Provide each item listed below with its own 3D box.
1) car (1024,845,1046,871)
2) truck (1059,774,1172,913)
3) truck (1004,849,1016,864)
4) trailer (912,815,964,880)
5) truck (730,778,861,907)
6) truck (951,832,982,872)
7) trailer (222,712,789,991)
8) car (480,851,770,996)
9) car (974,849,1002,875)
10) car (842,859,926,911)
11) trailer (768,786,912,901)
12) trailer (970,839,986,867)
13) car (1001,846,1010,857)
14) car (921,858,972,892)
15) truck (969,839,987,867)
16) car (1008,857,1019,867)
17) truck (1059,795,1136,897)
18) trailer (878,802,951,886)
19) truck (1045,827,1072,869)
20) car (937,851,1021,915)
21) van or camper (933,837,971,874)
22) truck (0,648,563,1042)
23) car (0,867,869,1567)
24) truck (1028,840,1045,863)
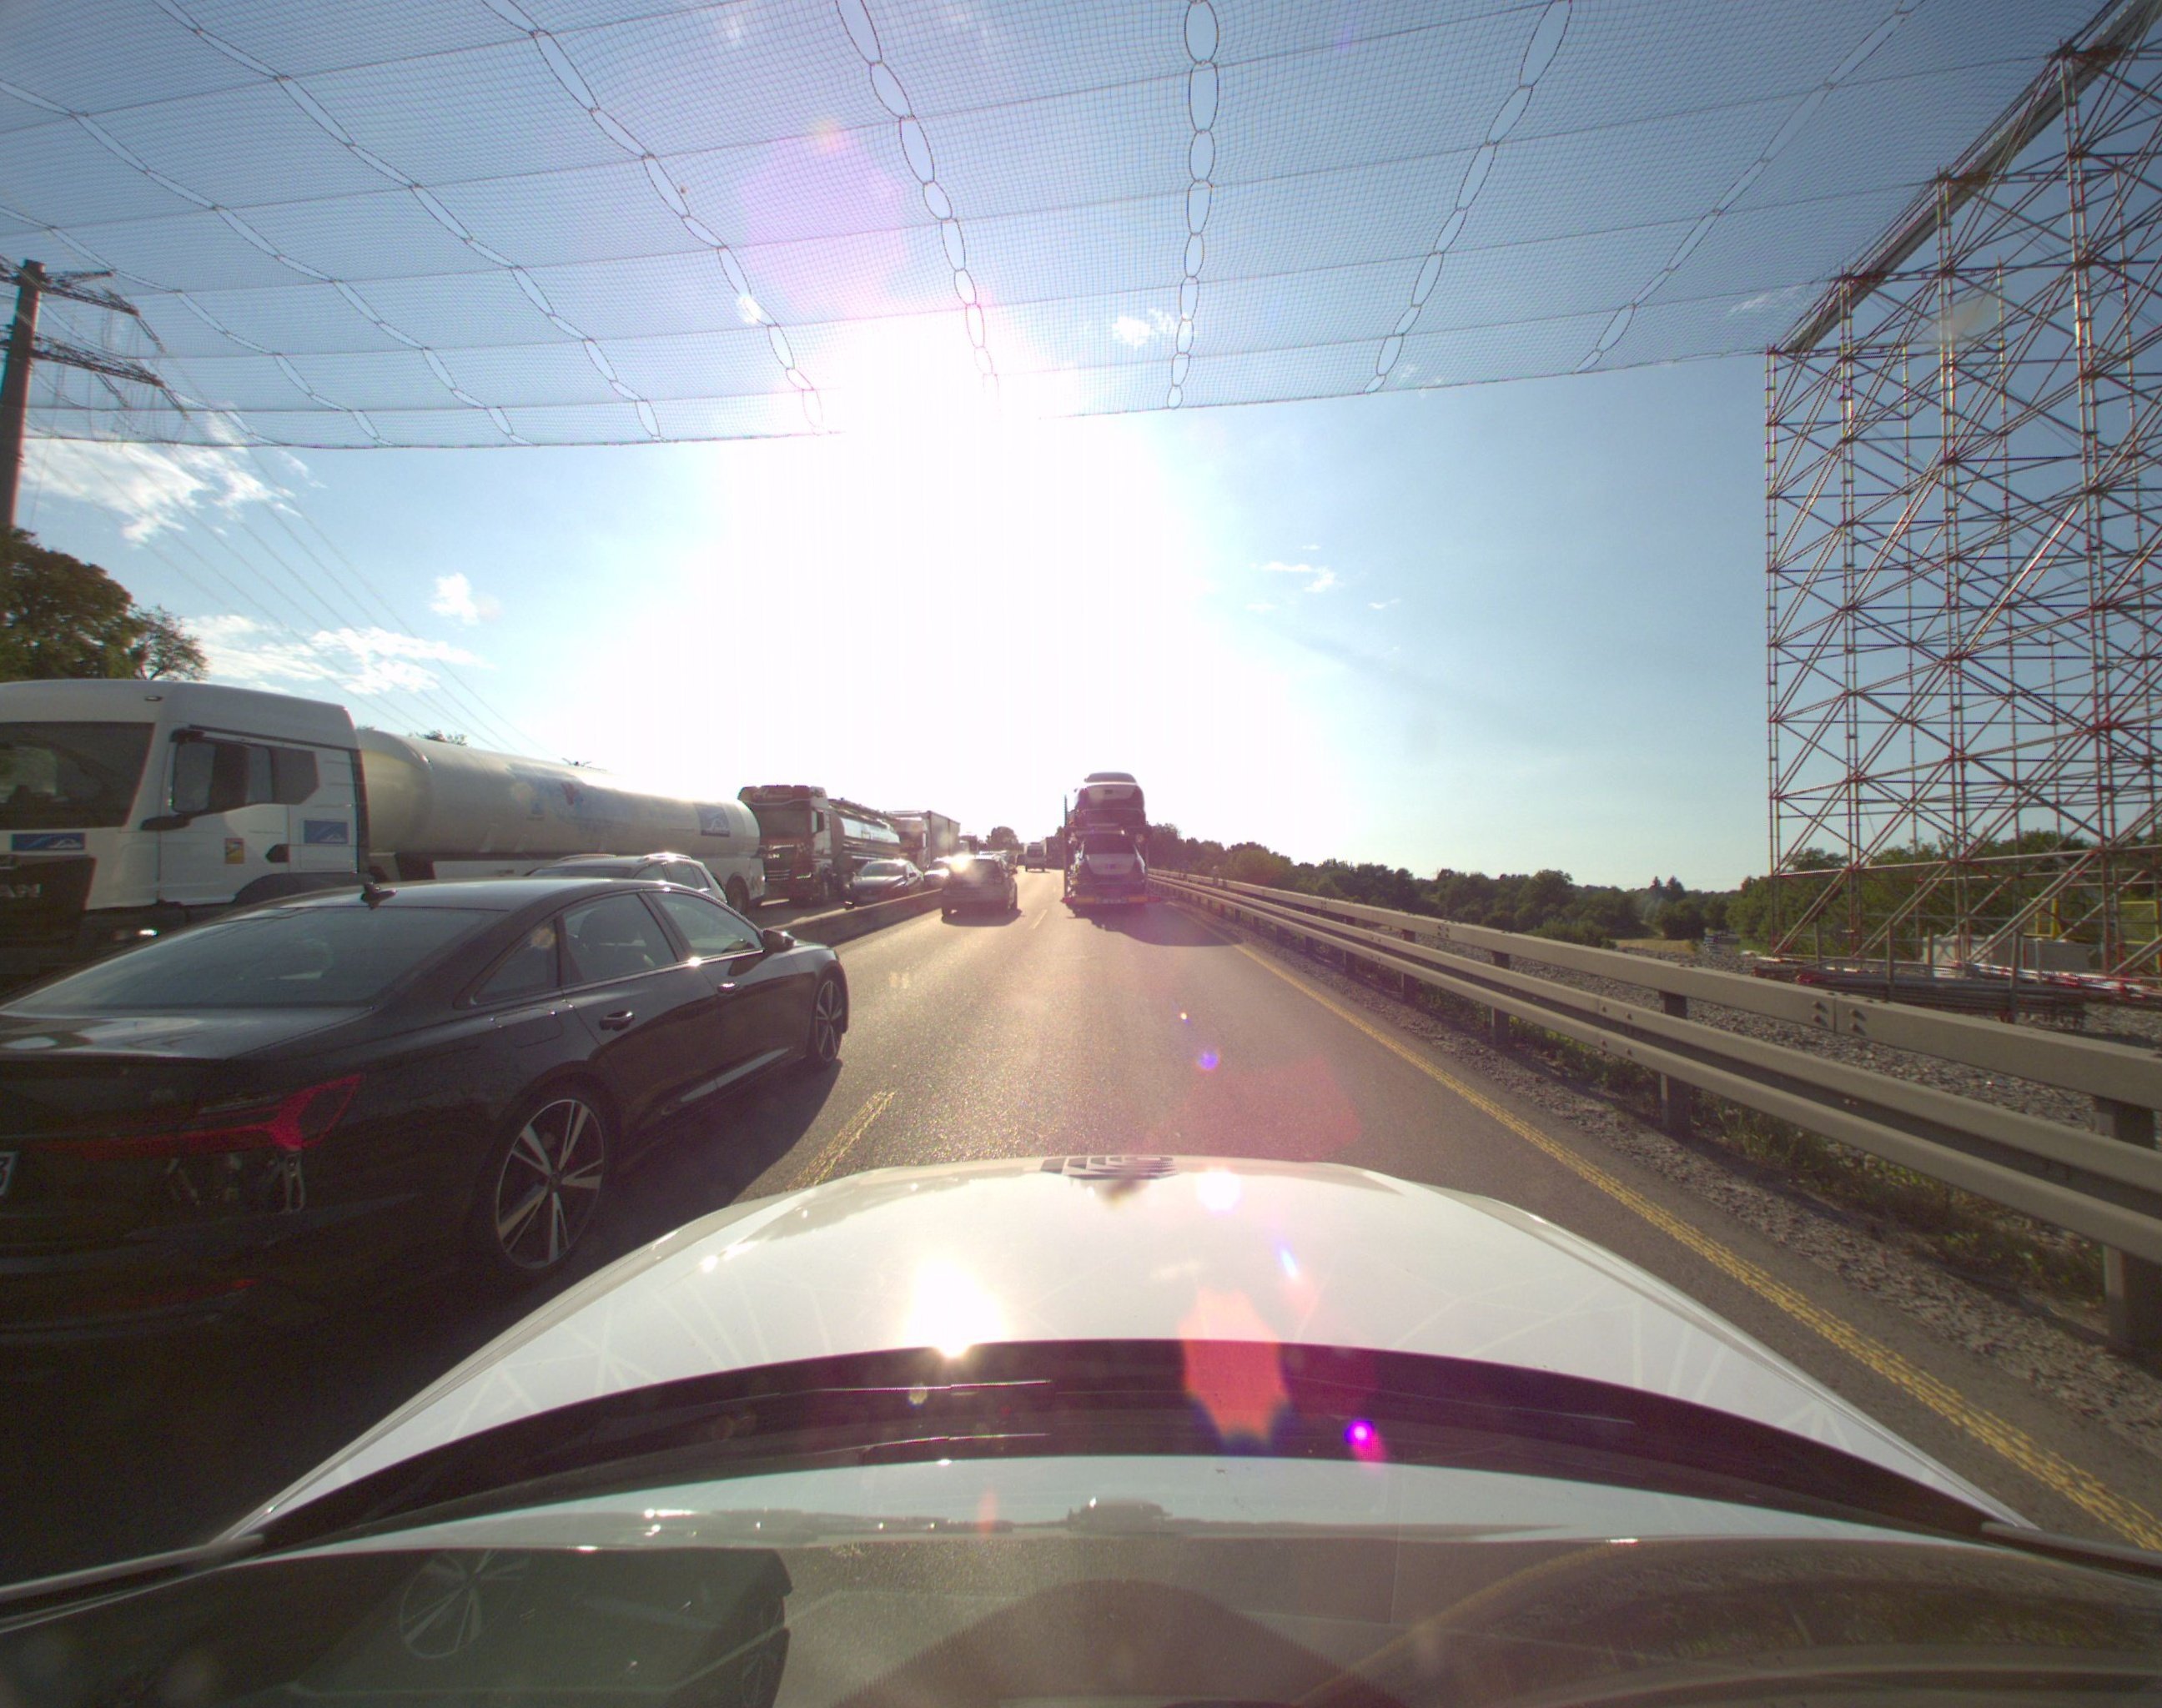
[{"bbox_3d":[-4.599,0.384,81.750,1.915,2.492,5.405,-1,-1,-1],"label":"car"},{"bbox_3d":[0.732,-0.219,25.877,2.792,3.497,10.597,-1,-1,-2],"label":"truck"},{"bbox_3d":[-16.361,0.611,187.411,2.585,3.170,6.668,0,-1,-3],"label":"truck"},{"bbox_3d":[-9.812,-0.380,56.672,2.437,4.189,8.535,0,-1,-3],"label":"trailer"},{"bbox_3d":[-9.184,-0.317,26.853,2.426,3.785,5.613,-1,-1,-2],"label":"truck"},{"bbox_3d":[-11.303,-0.136,80.682,2.596,3.754,6.507,0,-1,-4],"label":"truck"},{"bbox_3d":[-9.139,0.027,15.902,2.299,3.362,12.053,-1,-1,1],"label":"trailer"},{"bbox_3d":[-5.817,0.788,11.024,1.746,1.587,3.940,-1,-1,-1],"label":"car"},{"bbox_3d":[-7.238,0.593,63.559,1.813,1.925,4.831,0,-1,-3],"label":"car"},{"bbox_3d":[-5.857,0.887,24.712,1.623,1.426,4.384,-1,-1,-2],"label":"car"},{"bbox_3d":[-9.240,-0.306,32.991,2.300,3.790,12.048,-1,-1,0],"label":"trailer"},{"bbox_3d":[-16.014,-0.082,127.425,2.305,4.130,14.564,0,-1,-7],"label":"trailer"},{"bbox_3d":[-14.840,-0.500,159.486,1.628,2.014,3.990,0,-1,-7],"label":"car"},{"bbox_3d":[-6.033,0.936,37.051,1.623,1.426,4.655,-1,-1,-1],"label":"car"},{"bbox_3d":[-15.137,-0.164,120.256,2.501,4.066,5.651,0,-1,-7],"label":"truck"},{"bbox_3d":[-11.976,1.386,144.535,1.821,1.772,3.997,-1,-1,-1],"label":"car"},{"bbox_3d":[0.473,-0.246,35.347,2.830,3.792,9.978,-1,-1,-2],"label":"truck"},{"bbox_3d":[-9.408,-0.477,47.172,2.470,4.328,10.500,0,-1,-3],"label":"trailer"},{"bbox_3d":[-3.002,-0.715,105.707,3.278,5.237,9.924,0,-1,-3],"label":"truck"},{"bbox_3d":[-2.685,0.745,22.328,1.685,1.596,4.001,-1,-1,1],"label":"car"},{"bbox_3d":[-10.718,0.184,68.125,2.403,2.891,7.608,0,-1,-3],"label":"van or camper"},{"bbox_3d":[-9.273,-0.048,9.788,2.405,3.370,5.618,-1,-1,1],"label":"truck"},{"bbox_3d":[-2.816,0.807,4.226,1.927,1.399,4.964,0,0,3],"label":"car"},{"bbox_3d":[-7.356,-0.305,136.189,2.524,3.648,8.898,0,-1,-2],"label":"truck"}]
